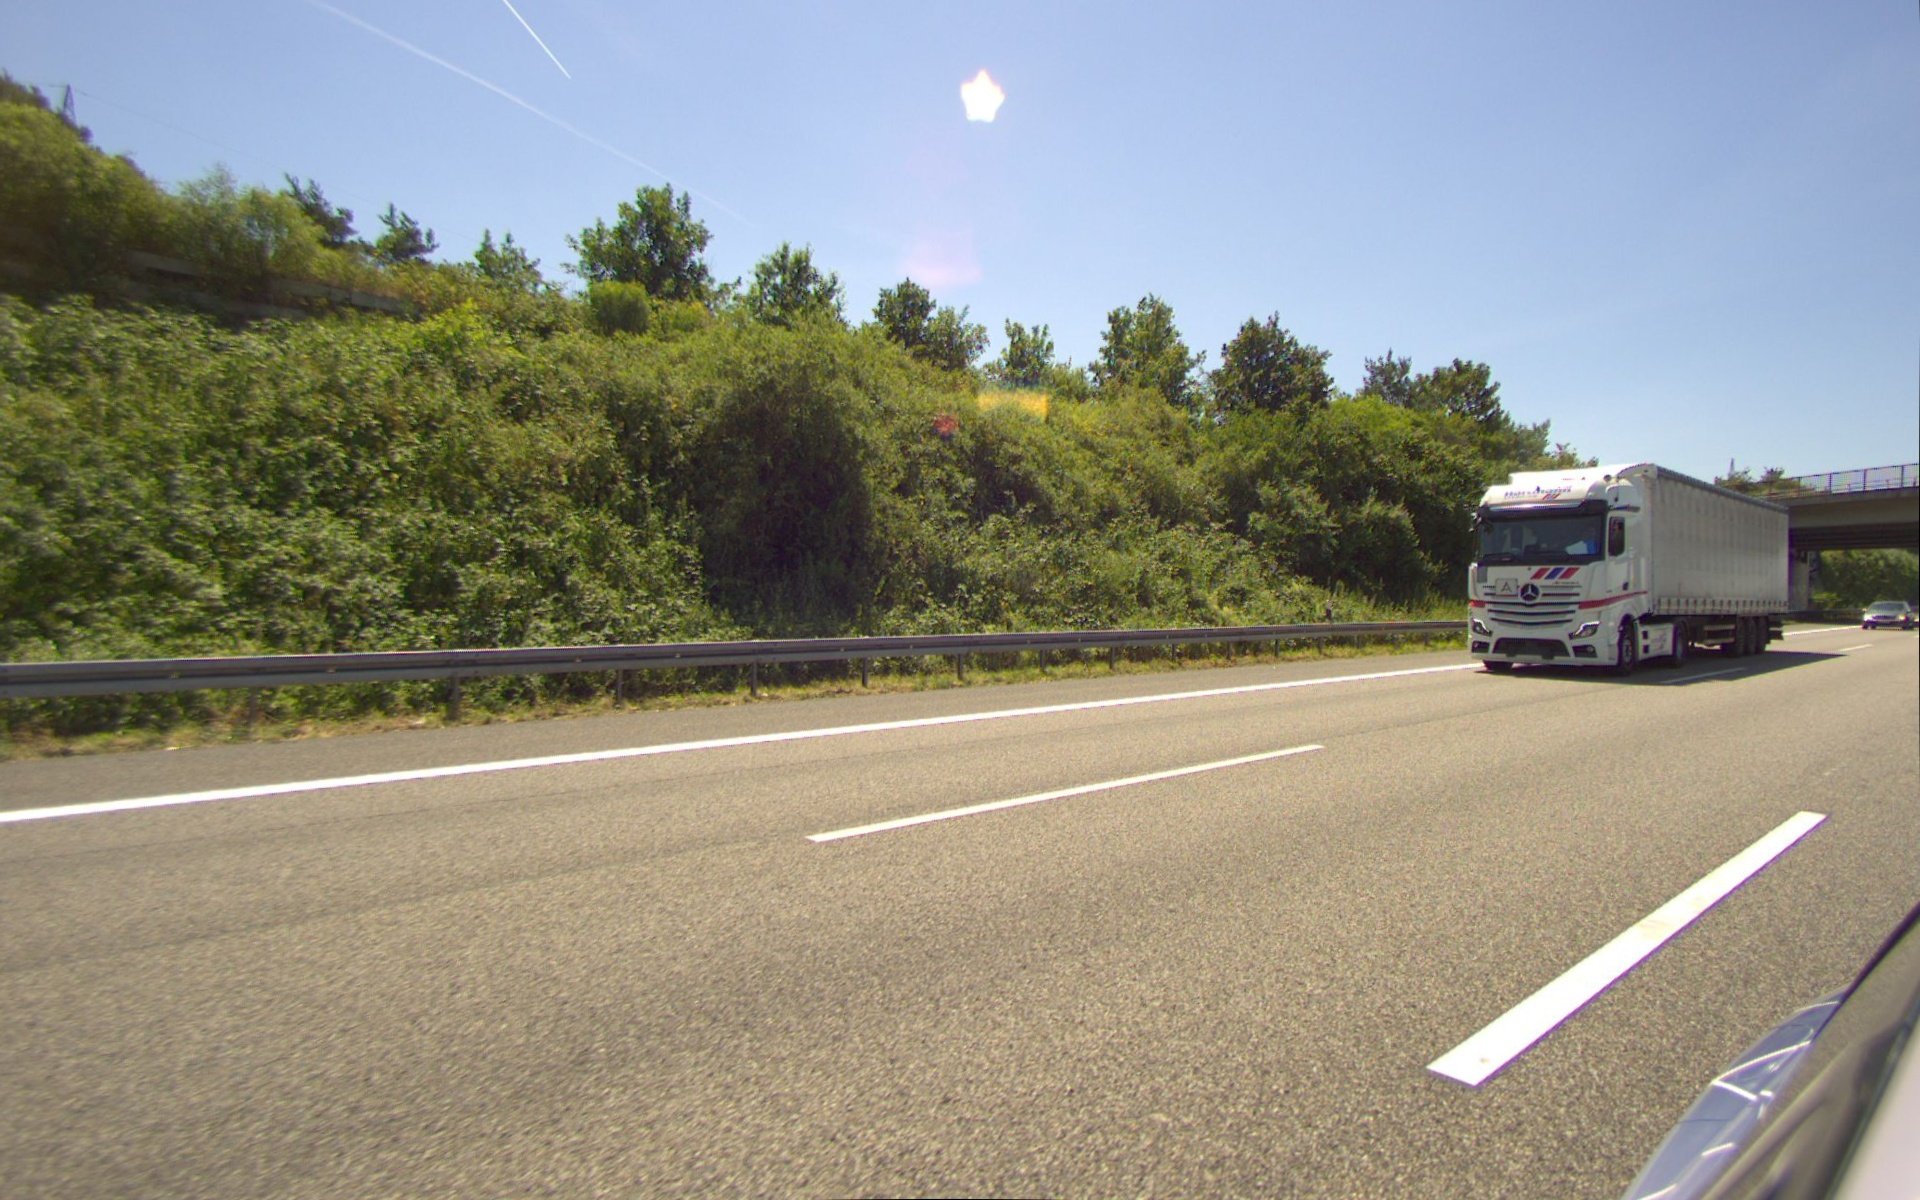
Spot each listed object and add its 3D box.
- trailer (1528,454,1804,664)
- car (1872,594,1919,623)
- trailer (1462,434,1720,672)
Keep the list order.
[{"bbox_3d":[18.138,-0.872,25.350,12.961,4.154,2.733,0,1,-42],"label":"trailer"},{"bbox_3d":[47.123,0.396,50.586,4.480,1.430,1.838,0,0,-42],"label":"car"},{"bbox_3d":[13.175,-0.861,20.890,6.671,4.154,2.717,0,1,-42],"label":"trailer"}]
